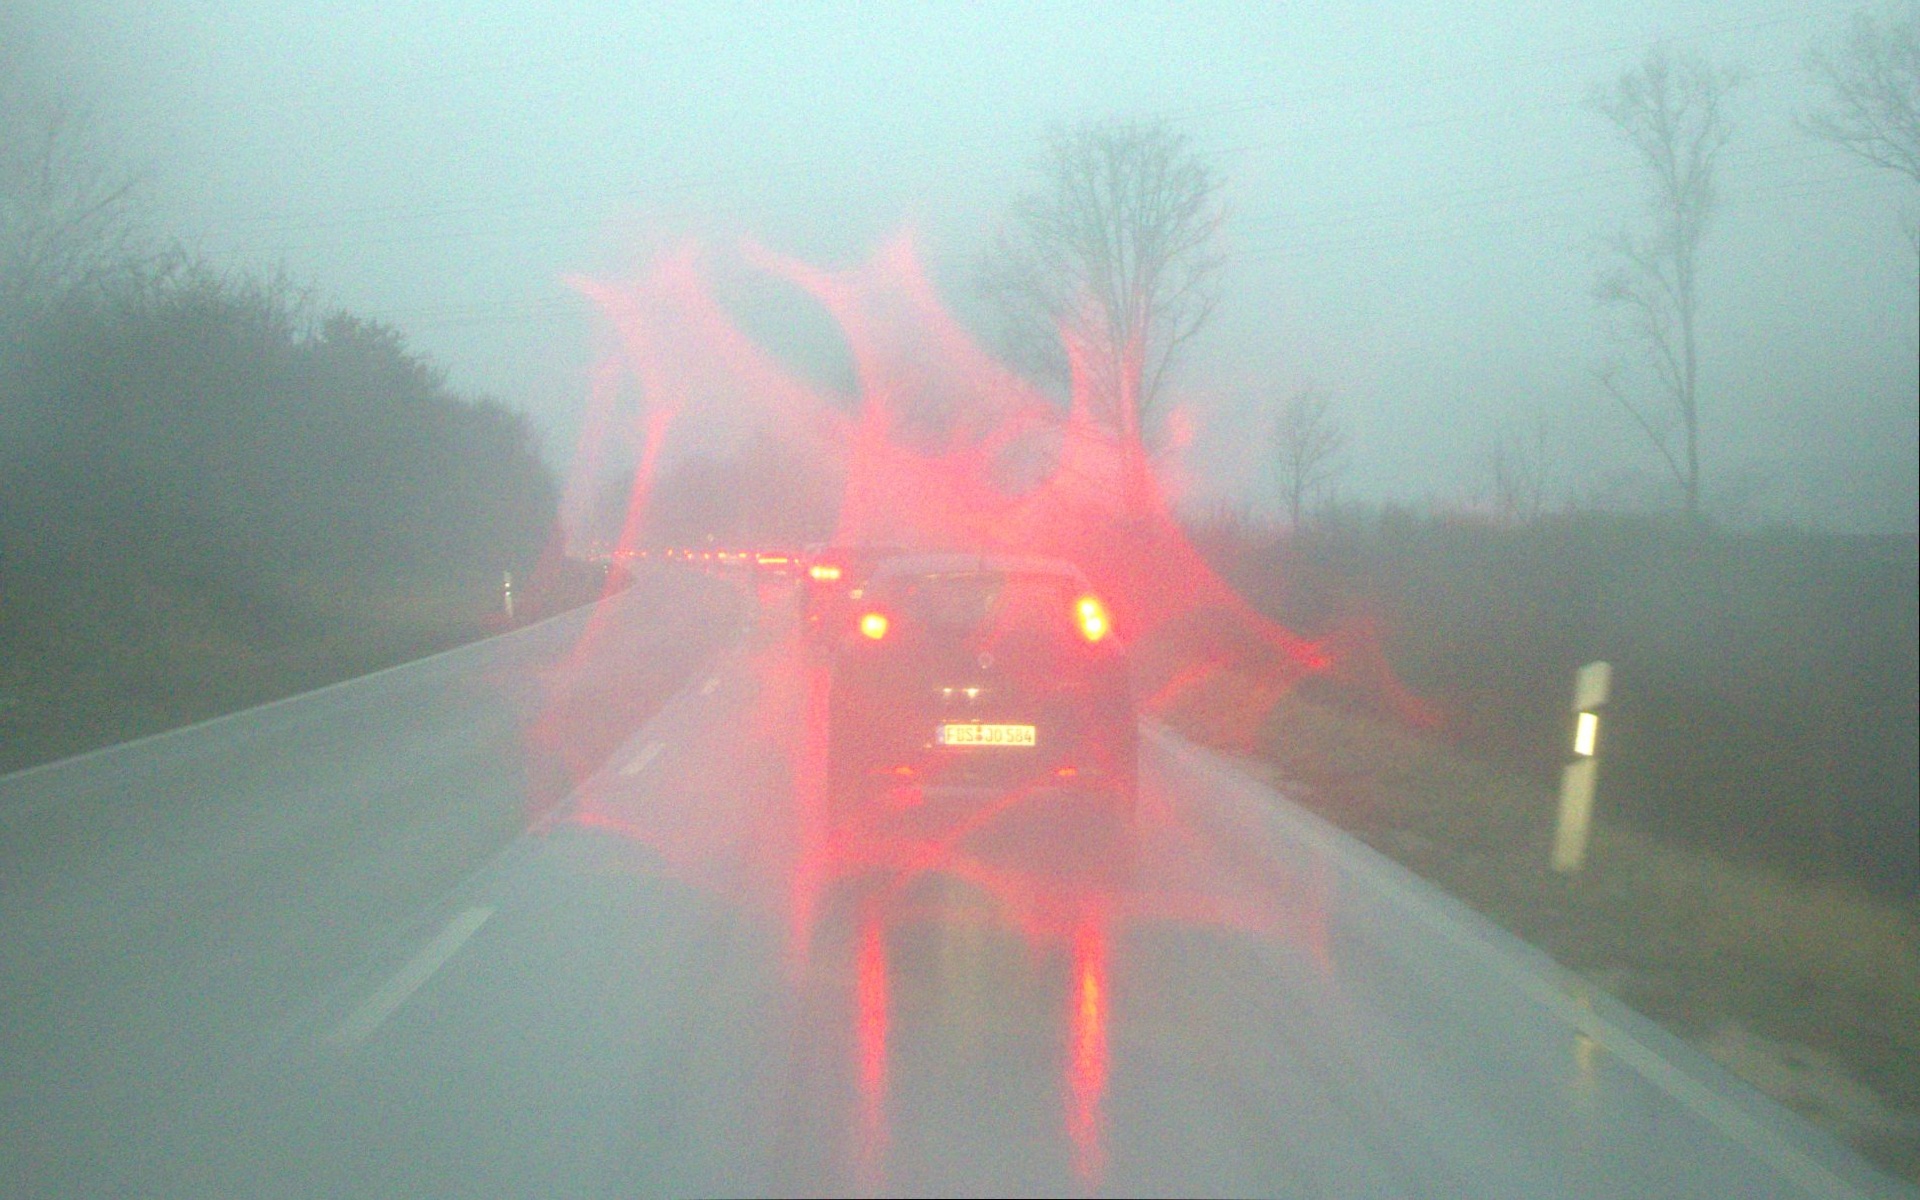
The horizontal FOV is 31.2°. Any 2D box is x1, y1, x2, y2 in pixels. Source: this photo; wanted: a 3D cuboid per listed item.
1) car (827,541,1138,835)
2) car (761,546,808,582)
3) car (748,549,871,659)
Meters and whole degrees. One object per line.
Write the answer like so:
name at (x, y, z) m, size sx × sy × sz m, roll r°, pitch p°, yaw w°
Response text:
car at (0.138, 0.427, 19.844) m, size 1.602 × 1.517 × 3.869 m, roll 1°, pitch 1°, yaw 1°
car at (-7.003, -1.445, 137.417) m, size 1.547 × 1.392 × 3.869 m, roll 1°, pitch 1°, yaw 2°
car at (-1.990, 0.023, 46.281) m, size 1.547 × 1.392 × 3.870 m, roll 1°, pitch 1°, yaw -1°
